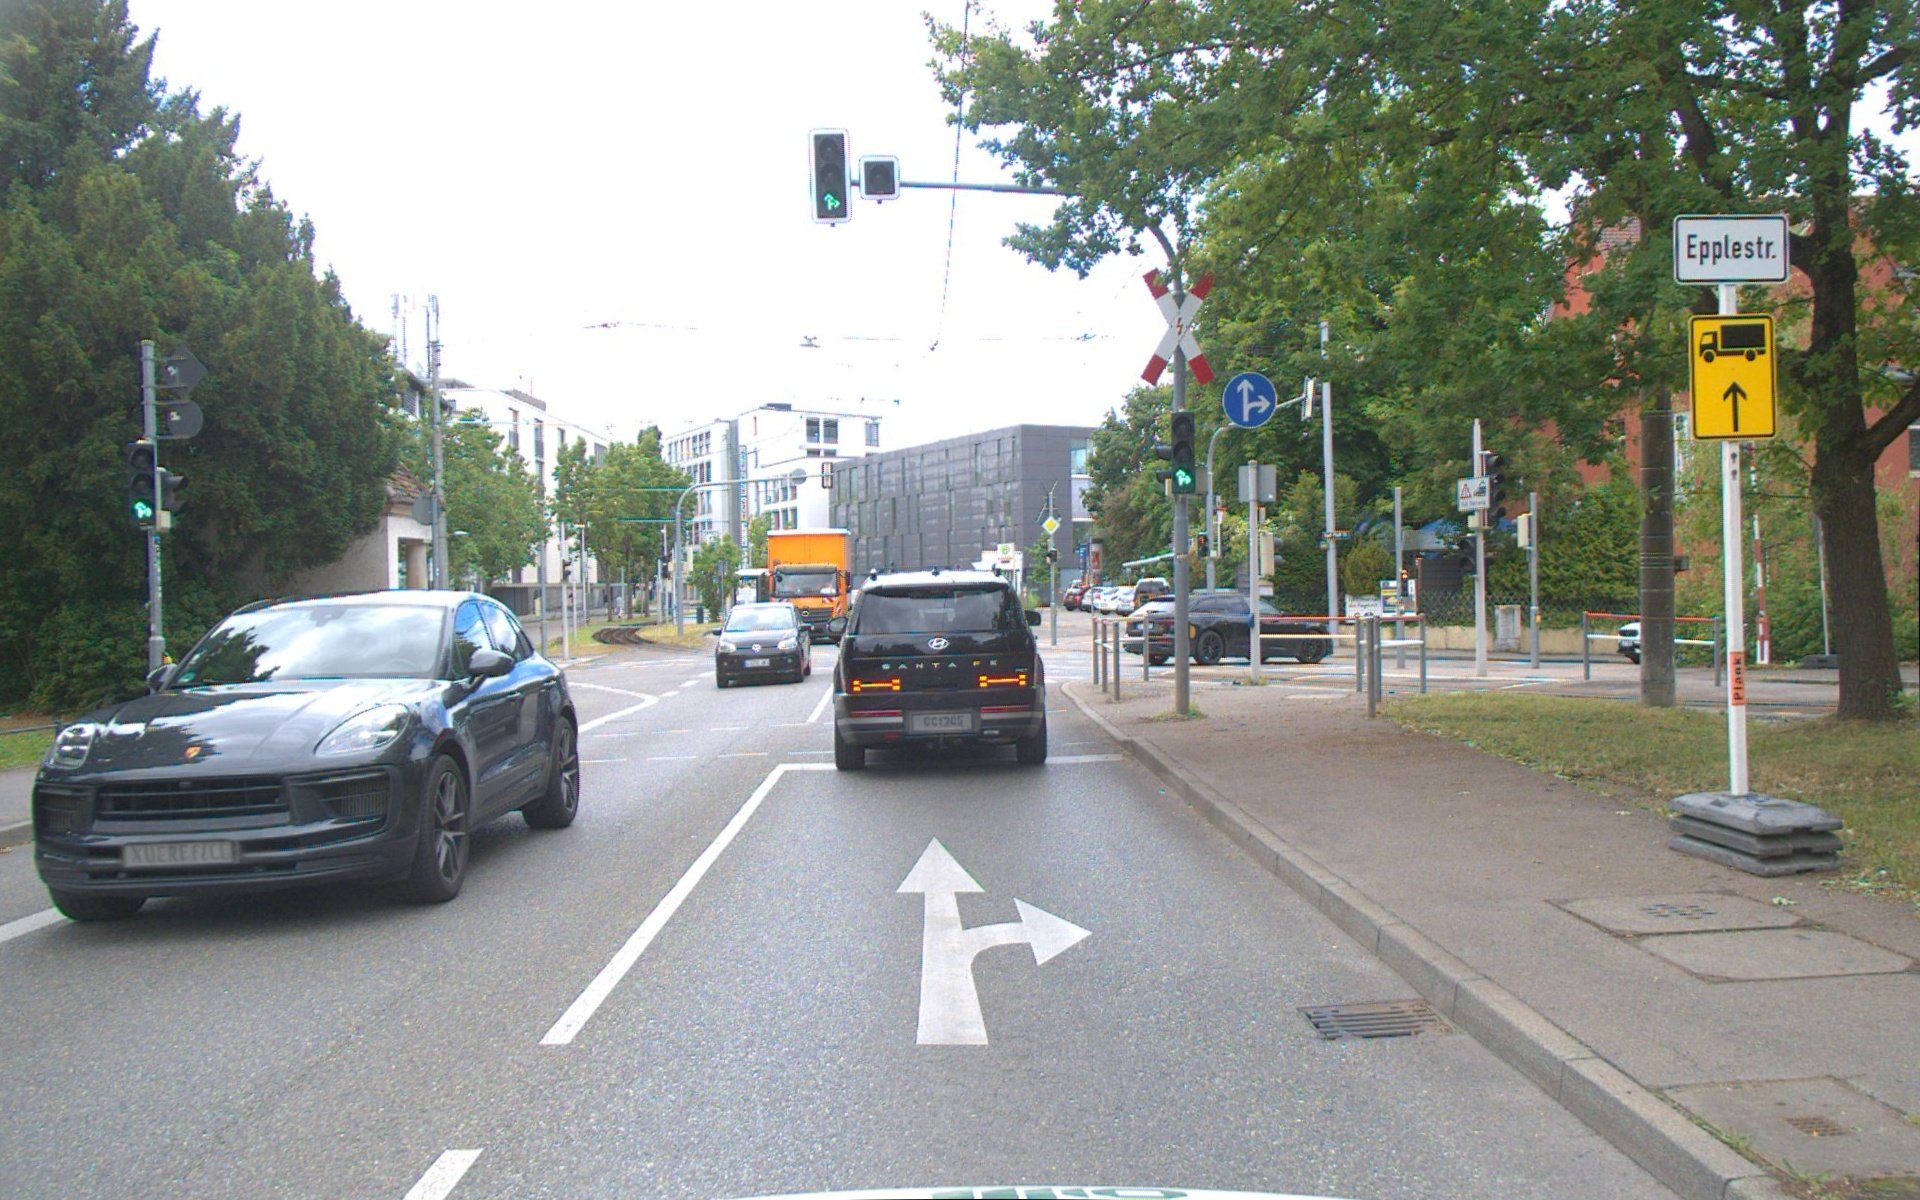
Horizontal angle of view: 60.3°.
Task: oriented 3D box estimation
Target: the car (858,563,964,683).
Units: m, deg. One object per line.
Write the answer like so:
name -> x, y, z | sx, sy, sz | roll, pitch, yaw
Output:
car -> -0.985, 0.371, 31.183 | 1.818, 2.069, 4.434 | -1, 1, -3

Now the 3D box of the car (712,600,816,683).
car -> -3.683, 0.748, 31.623 | 1.630, 1.474, 3.826 | -1, 0, -2

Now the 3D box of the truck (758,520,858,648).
truck -> -4.923, -0.495, 54.922 | 2.714, 3.783, 8.464 | -3, 0, -3

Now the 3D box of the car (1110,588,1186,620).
car -> 9.119, 0.179, 80.112 | 3.472, 1.402, 1.530 | -2, 2, -32

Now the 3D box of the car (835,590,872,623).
car -> -5.740, 0.315, 89.307 | 1.752, 1.690, 4.275 | -1, 0, -1

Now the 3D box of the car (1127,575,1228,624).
car -> 8.302, -0.040, 62.872 | 1.814, 1.779, 4.678 | -1, 1, 36

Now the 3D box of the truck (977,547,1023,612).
truck -> 2.303, -1.185, 97.004 | 2.520, 3.587, 7.810 | -1, 0, 0

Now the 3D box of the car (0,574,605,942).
car -> -3.516, 0.708, 9.700 | 1.900, 1.558, 4.525 | -3, 0, -1

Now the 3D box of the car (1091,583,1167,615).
car -> 8.677, -0.036, 84.947 | 3.598, 1.460, 1.576 | -3, -1, -29

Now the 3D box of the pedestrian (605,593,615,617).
pedestrian -> -25.137, 0.393, 118.802 | 0.601, 1.724, 0.785 | 0, -1, -2

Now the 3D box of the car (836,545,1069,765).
car -> -0.183, 0.439, 15.528 | 1.877, 1.755, 4.167 | 1, 0, -4

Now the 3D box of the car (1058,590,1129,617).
car -> 7.780, 0.230, 96.413 | 3.745, 1.499, 1.783 | 2, -1, -27

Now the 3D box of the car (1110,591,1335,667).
car -> 5.463, 0.579, 34.286 | 4.461, 1.489, 1.978 | 0, 0, -32

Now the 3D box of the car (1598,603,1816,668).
car -> 17.682, 0.831, 39.238 | 4.424, 1.489, 1.994 | 0, 0, -12

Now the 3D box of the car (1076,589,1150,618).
car -> 8.404, 0.203, 91.028 | 3.753, 1.499, 1.779 | 2, -1, -32
